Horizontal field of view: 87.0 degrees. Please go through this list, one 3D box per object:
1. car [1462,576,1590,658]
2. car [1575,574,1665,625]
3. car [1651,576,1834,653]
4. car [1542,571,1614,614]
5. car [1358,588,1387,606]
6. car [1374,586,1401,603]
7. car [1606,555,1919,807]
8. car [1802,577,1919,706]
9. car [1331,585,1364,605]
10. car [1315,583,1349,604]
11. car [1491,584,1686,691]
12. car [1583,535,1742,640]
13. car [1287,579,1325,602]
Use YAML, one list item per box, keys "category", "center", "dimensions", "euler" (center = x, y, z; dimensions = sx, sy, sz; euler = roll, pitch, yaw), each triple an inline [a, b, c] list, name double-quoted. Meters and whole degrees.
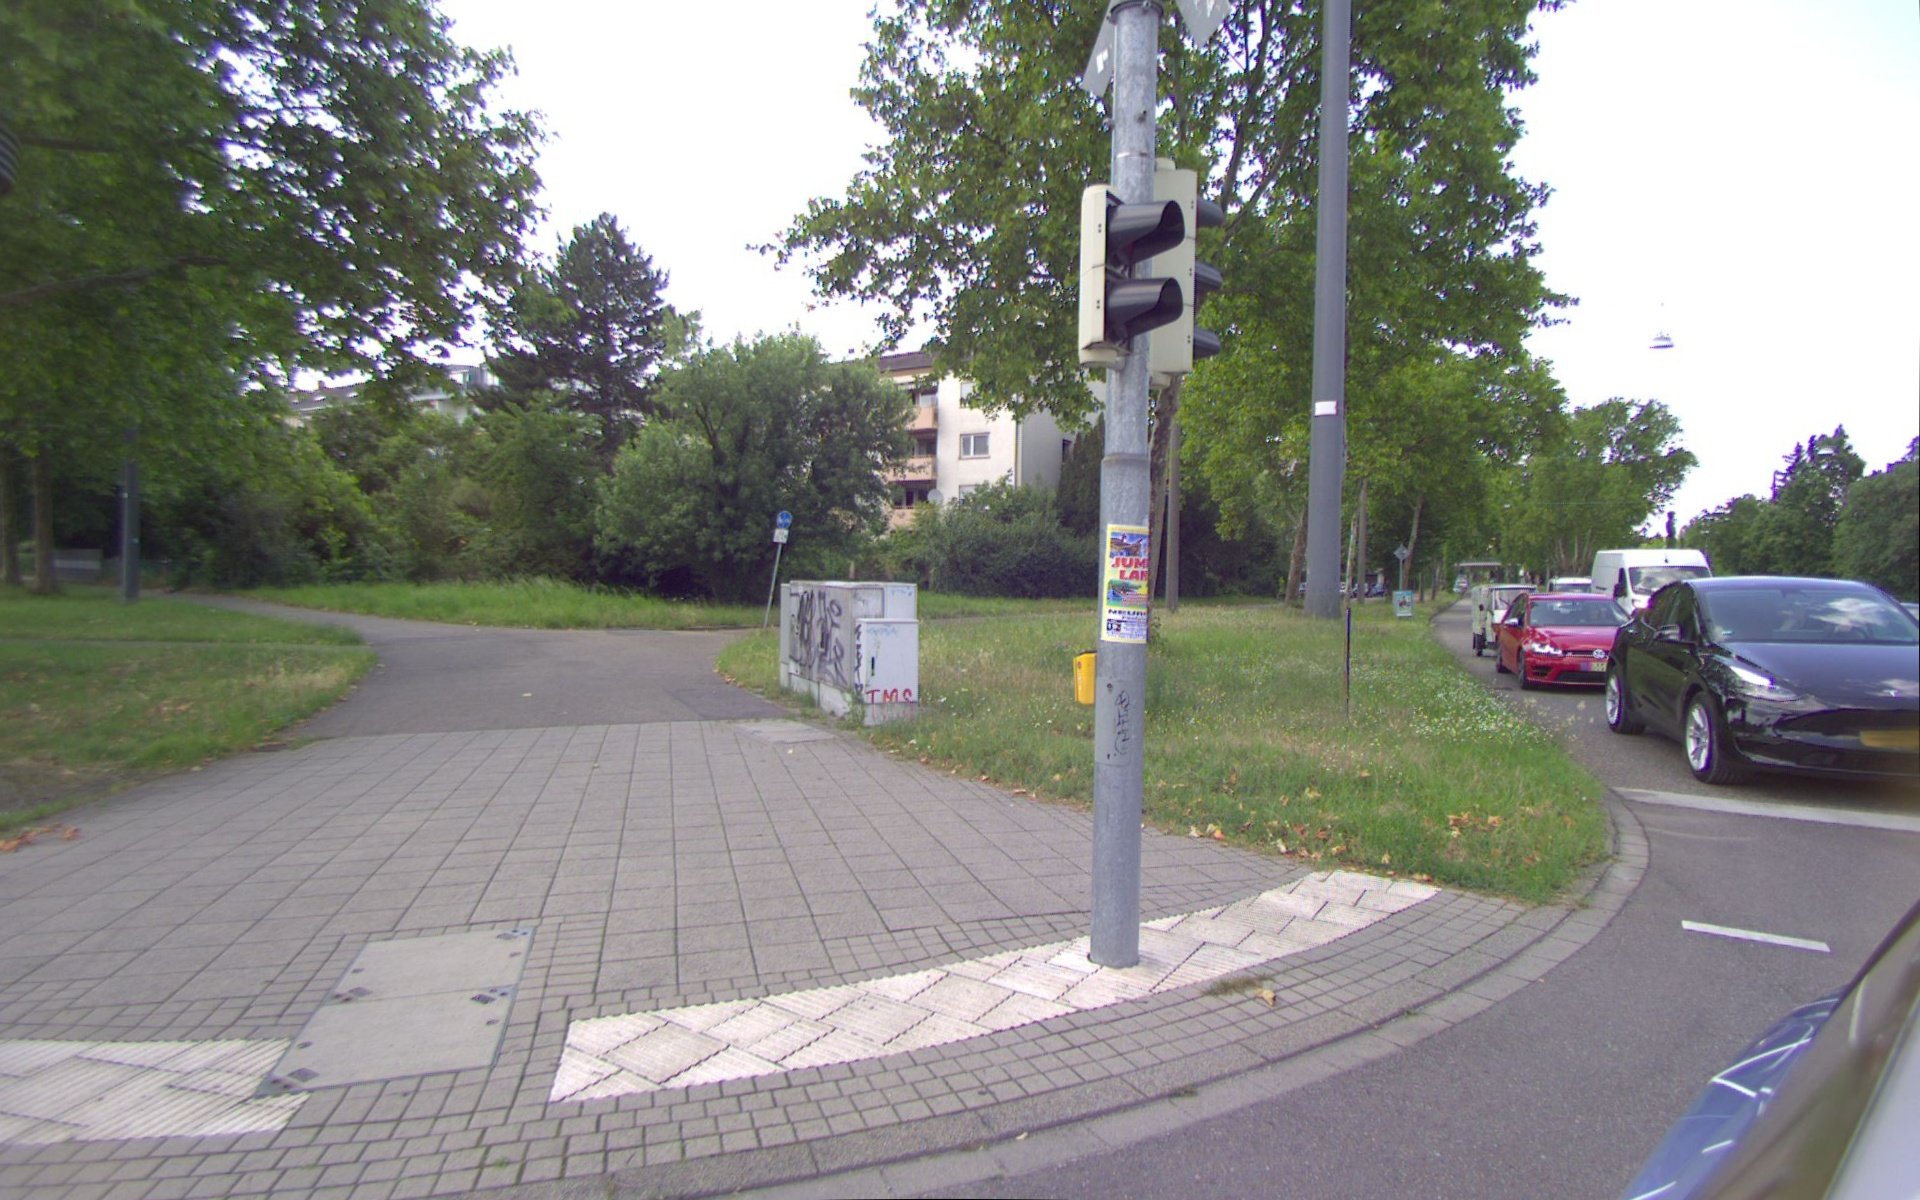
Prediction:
- category: "car"
  center: [12.188, 0.288, 22.069]
  dimensions: [1.780, 1.589, 4.472]
  euler: [0, 1, 21]
- category: "car"
  center: [22.502, -0.054, 34.667]
  dimensions: [1.823, 1.638, 4.125]
  euler: [0, 1, 22]
- category: "car"
  center: [15.748, 0.213, 20.641]
  dimensions: [1.743, 1.392, 4.314]
  euler: [0, 1, 21]
- category: "car"
  center: [25.580, -0.354, 42.020]
  dimensions: [1.743, 1.667, 4.314]
  euler: [1, 2, 21]
- category: "car"
  center: [39.869, -0.244, 97.747]
  dimensions: [1.767, 1.616, 3.607]
  euler: [1, 0, 37]
- category: "car"
  center: [44.086, -0.580, 104.323]
  dimensions: [1.767, 1.616, 3.607]
  euler: [1, 0, 37]
- category: "car"
  center: [7.233, 0.484, 8.814]
  dimensions: [1.910, 1.672, 4.546]
  euler: [0, 1, 23]
- category: "car"
  center: [12.963, 0.468, 13.286]
  dimensions: [1.784, 1.527, 3.970]
  euler: [-1, 1, 22]
- category: "car"
  center: [33.959, -0.449, 88.596]
  dimensions: [1.767, 1.616, 3.607]
  euler: [1, 0, 37]
- category: "car"
  center: [31.399, -0.535, 85.412]
  dimensions: [1.767, 1.616, 3.607]
  euler: [1, 0, 37]
- category: "car"
  center: [9.748, 0.480, 16.070]
  dimensions: [1.780, 1.408, 4.472]
  euler: [0, 1, 21]
- category: "car"
  center: [19.068, -0.356, 27.833]
  dimensions: [2.200, 2.561, 5.893]
  euler: [0, 1, 21]
- category: "car"
  center: [26.541, -0.705, 77.588]
  dimensions: [1.767, 1.616, 3.607]
  euler: [1, 0, 37]
